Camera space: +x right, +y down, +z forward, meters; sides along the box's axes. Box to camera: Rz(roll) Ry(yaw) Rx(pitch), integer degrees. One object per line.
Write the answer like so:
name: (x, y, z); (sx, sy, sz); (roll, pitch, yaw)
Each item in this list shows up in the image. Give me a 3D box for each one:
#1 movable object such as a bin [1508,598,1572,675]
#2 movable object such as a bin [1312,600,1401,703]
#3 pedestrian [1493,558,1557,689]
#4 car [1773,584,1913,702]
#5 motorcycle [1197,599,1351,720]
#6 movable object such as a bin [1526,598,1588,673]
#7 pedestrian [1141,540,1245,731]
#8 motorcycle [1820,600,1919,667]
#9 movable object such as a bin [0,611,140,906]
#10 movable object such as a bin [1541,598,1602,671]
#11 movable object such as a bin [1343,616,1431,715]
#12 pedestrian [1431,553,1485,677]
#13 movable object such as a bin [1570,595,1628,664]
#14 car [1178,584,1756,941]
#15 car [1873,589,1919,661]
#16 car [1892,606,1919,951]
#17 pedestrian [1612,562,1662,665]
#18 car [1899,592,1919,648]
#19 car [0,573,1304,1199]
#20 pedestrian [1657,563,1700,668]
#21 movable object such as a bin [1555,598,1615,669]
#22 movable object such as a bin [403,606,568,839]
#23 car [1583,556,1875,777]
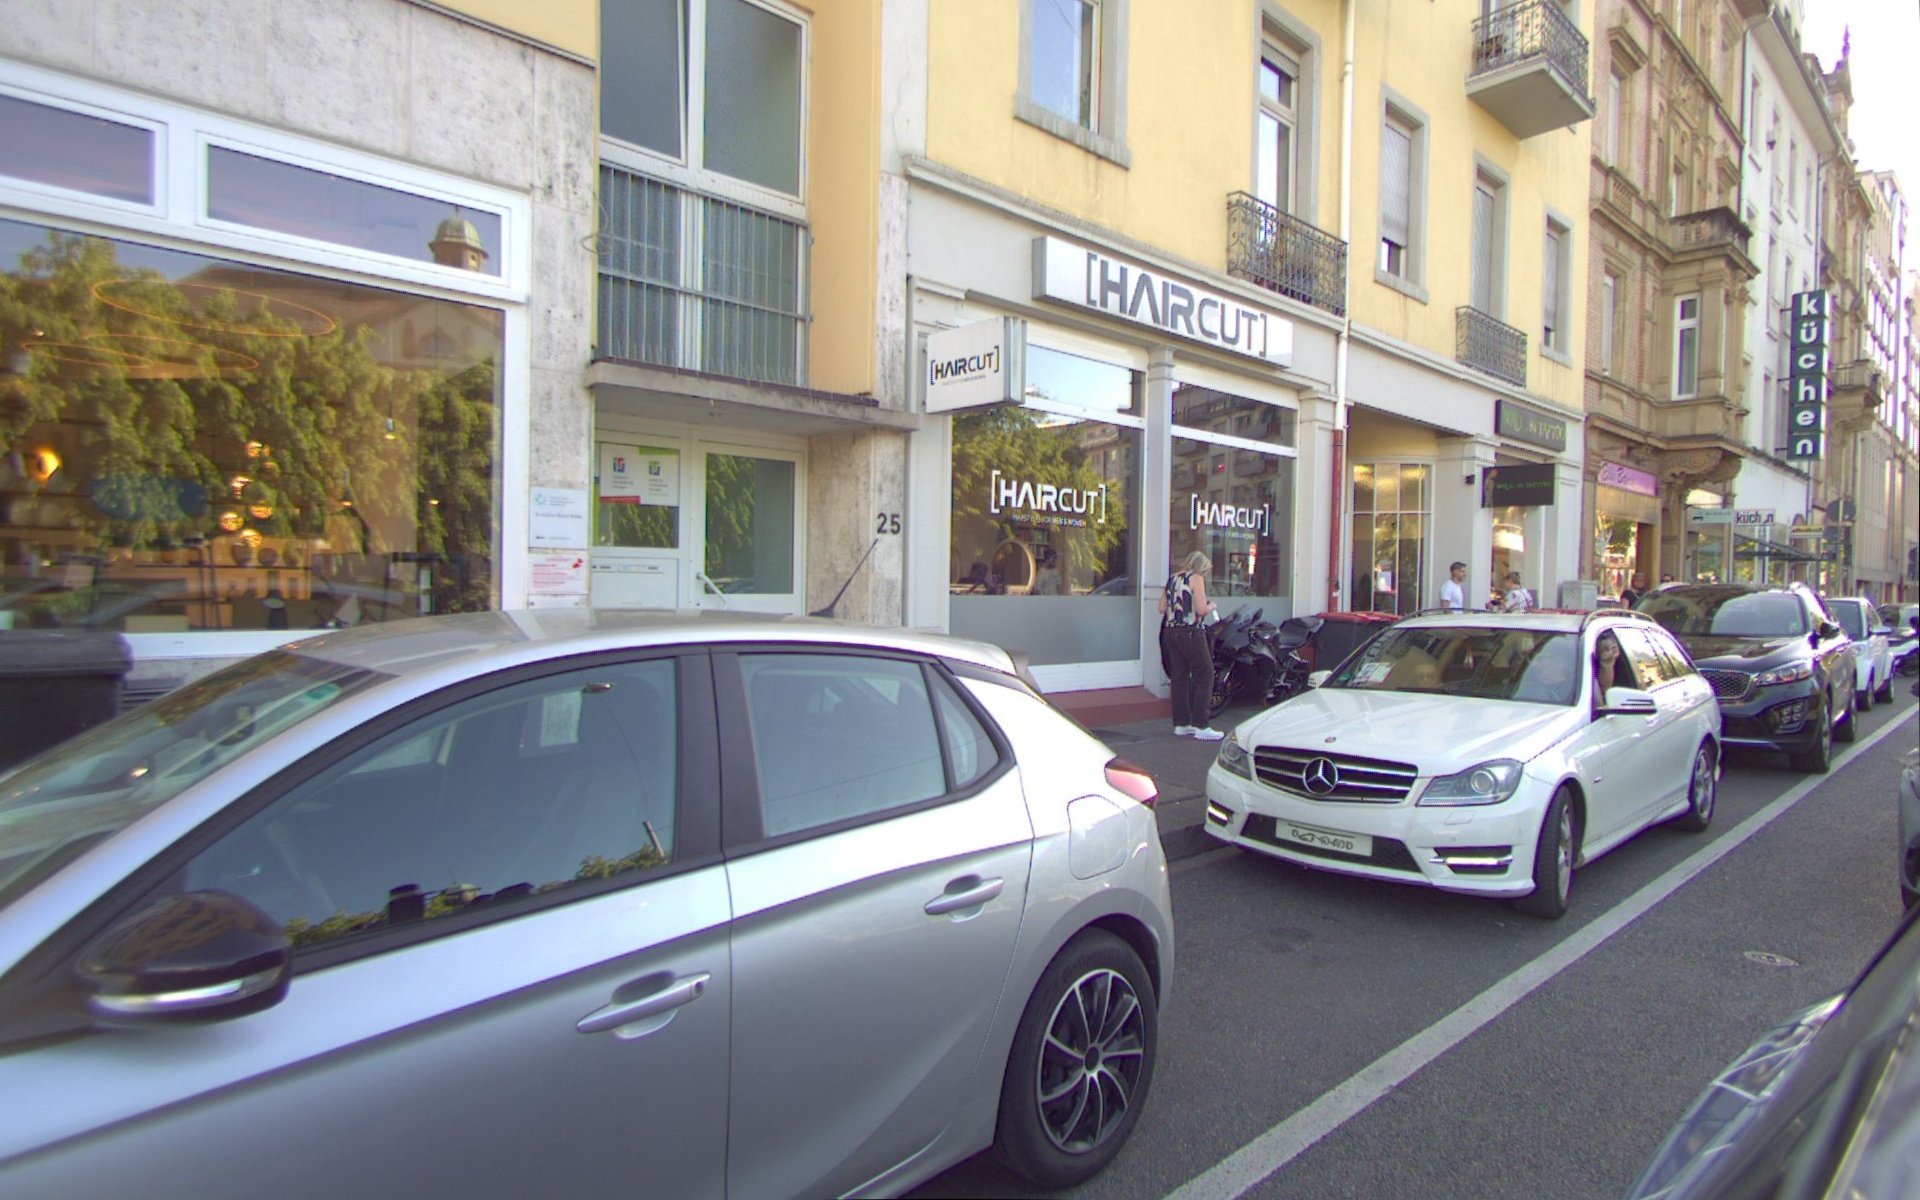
movable object such as a bin: (8.657, 0.534, 15.101); (0.608, 1.079, 0.606); (0, 4, -41)
movable object such as a bin: (4.433, 0.555, 11.322); (0.608, 1.054, 0.661); (1, 3, -38)
pedestrian: (7.470, 0.302, 13.405); (0.584, 1.681, 0.449); (2, 1, 15)
car: (12.786, 0.546, 14.613); (2.748, 1.537, 1.273); (0, 1, -44)
motorcycle: (3.261, 0.557, 10.398); (1.975, 1.105, 0.551); (0, 2, -42)
movable object such as a bin: (9.146, 0.528, 15.507); (0.608, 1.079, 0.606); (0, 4, -41)
pedestrian: (2.112, 0.289, 9.199); (0.523, 1.653, 0.697); (0, 2, -42)
motorcycle: (18.787, 0.660, 20.338); (2.137, 1.295, 0.866); (1, 0, 8)
movable object such as a bin: (-3.826, 0.614, 4.222); (0.609, 1.080, 0.704); (0, 4, -41)
movable object such as a bin: (9.604, 0.522, 15.901); (0.608, 1.079, 0.606); (0, 4, -41)
movable object such as a bin: (4.939, 0.736, 11.712); (0.608, 1.037, 0.669); (1, 3, -38)
pedestrian: (6.827, 0.203, 13.888); (0.513, 1.681, 0.339); (1, 1, -17)
movable object such as a bin: (10.556, 0.477, 16.722); (0.608, 1.079, 0.606); (0, 4, -41)
car: (3.392, 0.653, 6.309); (4.387, 1.465, 1.741); (0, 1, -42)
car: (21.978, 0.529, 22.834); (4.096, 1.537, 1.734); (0, 1, -44)
car: (6.255, 0.772, 5.108); (4.297, 1.467, 1.846); (0, 1, -41)
pedestrian: (11.119, 0.214, 16.631); (0.612, 1.653, 0.459); (1, 0, 26)
car: (26.355, 0.519, 26.854); (3.736, 1.435, 1.736); (0, 1, -41)
car: (-1.041, 0.674, 2.298); (4.006, 1.445, 1.673); (0, 1, -41)
pedestrian: (11.581, 0.242, 16.314); (0.409, 1.653, 0.512); (1, 0, 18)
movable object such as a bin: (10.075, 0.529, 16.307); (0.608, 1.079, 0.606); (0, 4, -41)
movable object such as a bin: (-2.520, 0.598, 5.361); (0.609, 1.080, 0.704); (0, 4, -41)
car: (7.933, 0.501, 10.258); (4.498, 1.758, 1.756); (0, 1, -45)
